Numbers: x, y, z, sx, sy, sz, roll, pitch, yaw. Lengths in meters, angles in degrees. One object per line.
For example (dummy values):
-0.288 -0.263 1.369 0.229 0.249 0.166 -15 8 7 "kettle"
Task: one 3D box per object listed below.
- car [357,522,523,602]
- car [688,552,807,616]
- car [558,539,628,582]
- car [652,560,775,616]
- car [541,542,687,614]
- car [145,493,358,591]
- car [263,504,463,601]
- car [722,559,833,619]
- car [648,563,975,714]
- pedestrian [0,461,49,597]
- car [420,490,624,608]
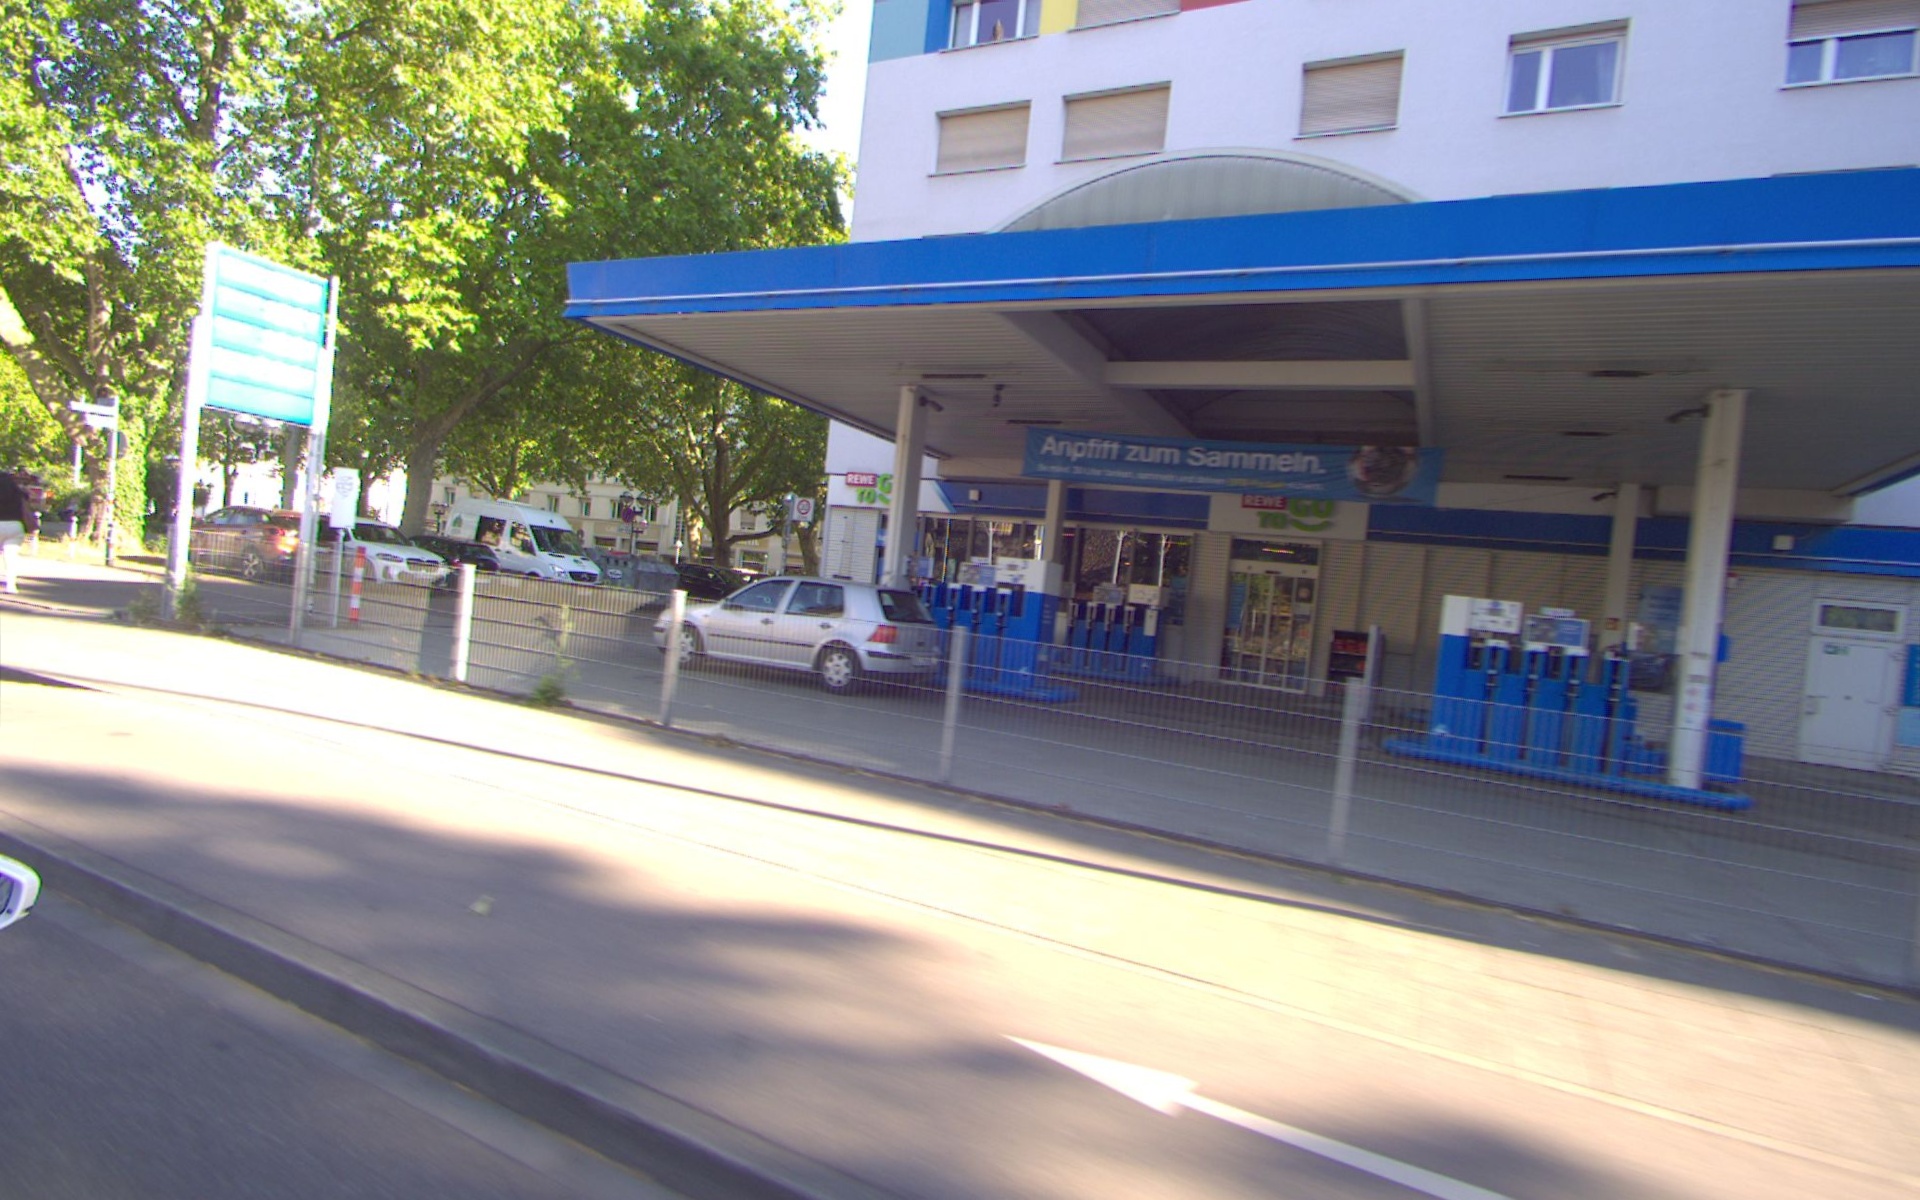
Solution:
-13.811 -1.007 26.722 3.929 1.590 1.863 8 1 27 "car"
-8.301 -0.609 39.433 3.924 2.039 2.000 6 1 15 "car"
-28.971 -3.079 79.617 2.021 2.656 5.084 7 -2 24 "car"
-9.060 -0.438 37.062 3.924 1.614 1.742 6 1 15 "car"
-10.826 -0.693 31.485 3.928 1.761 1.998 7 0 25 "car"
-16.269 -1.330 23.087 4.578 1.622 1.821 8 1 24 "car"
-14.668 -1.181 24.668 4.714 1.757 1.863 8 1 27 "car"
-7.601 -0.431 42.076 3.924 2.039 2.000 6 1 15 "car"
-2.007 0.454 13.389 4.026 1.449 1.570 6 1 26 "car"
-12.956 -0.975 13.717 0.678 1.802 0.602 7 5 30 "pedestrian"
-13.039 -1.536 29.853 5.695 2.869 2.244 7 1 27 "car"
